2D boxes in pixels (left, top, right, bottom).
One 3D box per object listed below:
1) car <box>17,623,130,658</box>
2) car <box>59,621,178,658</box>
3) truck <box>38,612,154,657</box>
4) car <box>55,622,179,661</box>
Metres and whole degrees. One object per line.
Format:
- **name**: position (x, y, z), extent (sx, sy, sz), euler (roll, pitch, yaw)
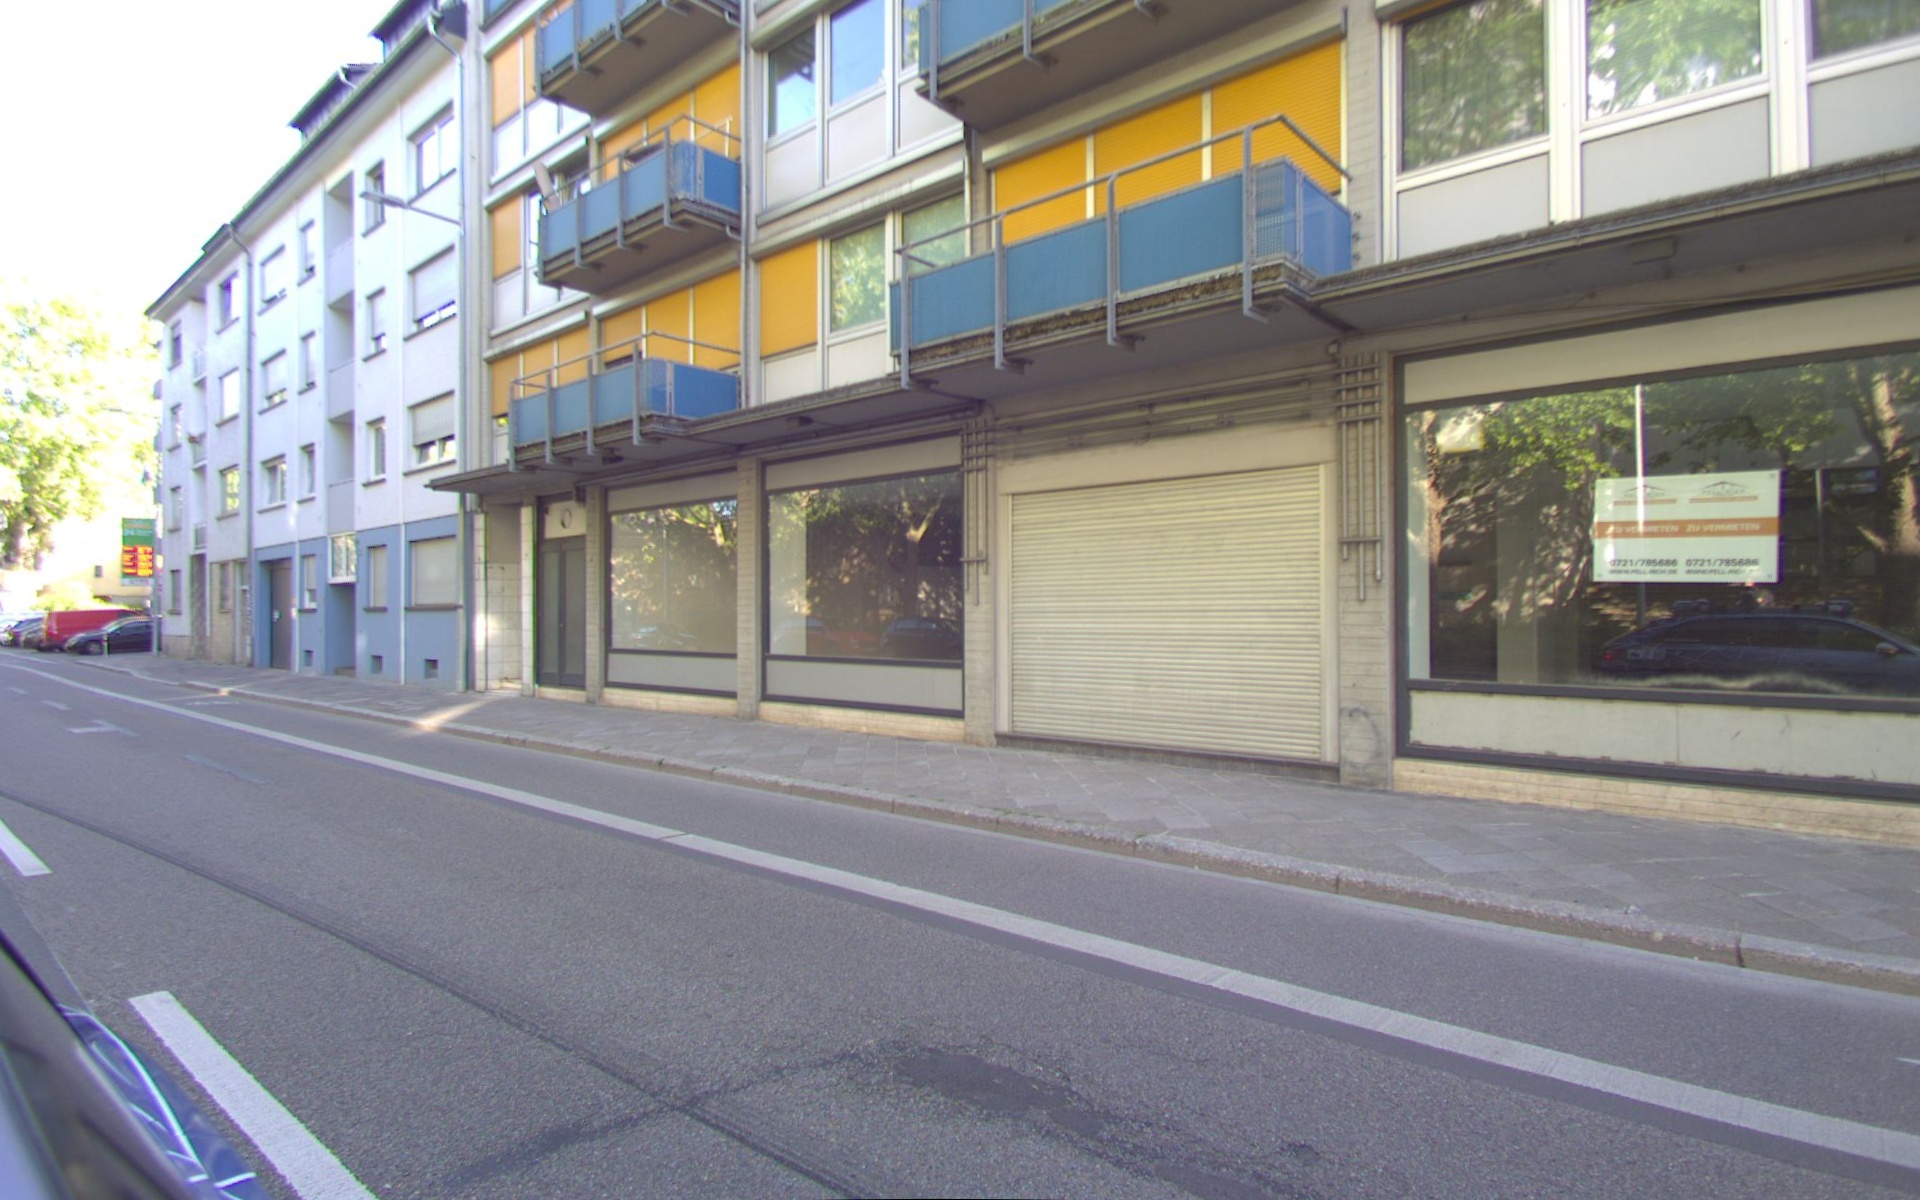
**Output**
- **car**: position (-42.908, 1.909, 49.041), extent (1.761, 1.514, 3.944), euler (-1, 0, 42)
- **car**: position (-38.107, 1.763, 45.902), extent (1.761, 1.514, 3.944), euler (-1, 0, 42)
- **truck**: position (-40.498, 1.576, 47.494), extent (1.761, 1.951, 3.944), euler (-1, 0, 42)
- **car**: position (-36.627, 1.767, 44.015), extent (1.761, 1.468, 3.944), euler (-1, 0, 42)
